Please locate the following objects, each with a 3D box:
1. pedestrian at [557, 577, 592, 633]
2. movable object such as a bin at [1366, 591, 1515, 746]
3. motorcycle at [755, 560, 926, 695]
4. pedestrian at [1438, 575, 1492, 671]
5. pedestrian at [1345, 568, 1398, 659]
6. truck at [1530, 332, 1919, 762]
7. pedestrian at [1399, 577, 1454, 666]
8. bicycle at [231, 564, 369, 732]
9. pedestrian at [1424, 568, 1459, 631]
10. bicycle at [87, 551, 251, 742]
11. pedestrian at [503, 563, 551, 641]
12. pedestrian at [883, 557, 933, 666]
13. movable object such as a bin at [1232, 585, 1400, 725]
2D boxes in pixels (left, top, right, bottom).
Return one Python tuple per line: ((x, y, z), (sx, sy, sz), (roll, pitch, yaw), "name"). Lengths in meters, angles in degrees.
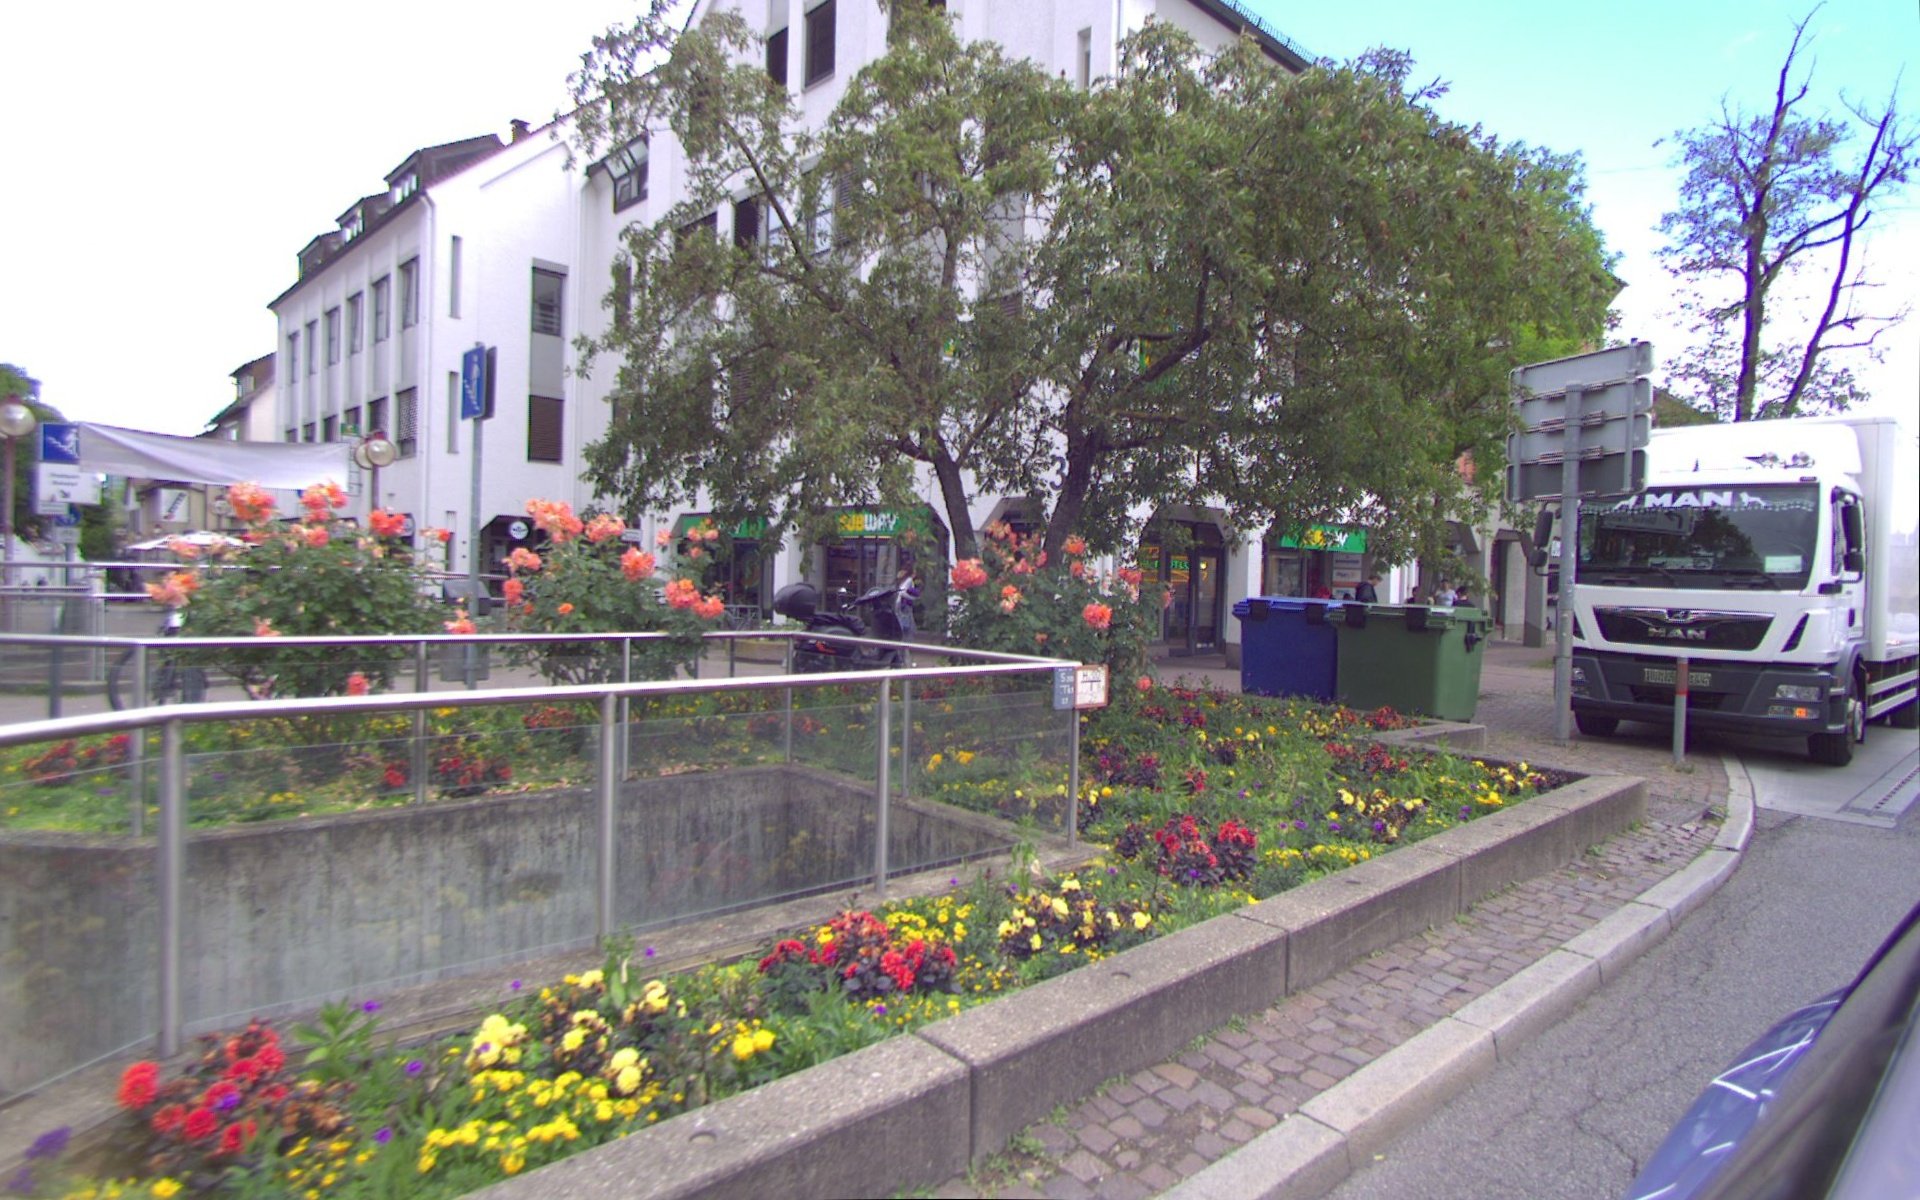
((-8.590, 0.112, 22.535), (0.504, 1.215, 0.619), (1, 1, -43), "pedestrian")
((4.603, 0.613, 9.690), (1.066, 1.356, 0.884), (1, 1, -39), "movable object such as a bin")
((-1.370, 0.301, 11.875), (1.913, 1.456, 0.721), (1, 1, -43), "motorcycle")
((8.843, 0.392, 17.732), (0.737, 1.622, 0.570), (2, 1, 21), "pedestrian")
((7.513, 0.236, 18.480), (0.732, 1.622, 0.573), (1, 1, -40), "pedestrian")
((10.441, -0.437, 12.694), (9.596, 3.606, 2.693), (1, 1, -42), "truck")
((8.842, 0.395, 19.197), (0.564, 1.622, 0.744), (1, 1, -44), "pedestrian")
((-5.637, 0.347, 8.602), (0.658, 1.274, 1.676), (1, 1, -44), "bicycle")
((12.651, -0.025, 26.595), (0.737, 1.622, 0.570), (2, 1, 21), "pedestrian")
((-6.352, 0.300, 8.086), (0.829, 1.343, 1.818), (1, 1, -44), "bicycle")
((-8.507, 0.040, 19.893), (0.605, 1.494, 0.612), (2, 1, 37), "pedestrian")
((-0.795, 0.163, 15.423), (0.502, 1.622, 0.621), (1, 1, -28), "pedestrian")
((3.838, 0.548, 10.914), (1.351, 1.356, 1.146), (1, 1, -39), "movable object such as a bin")
